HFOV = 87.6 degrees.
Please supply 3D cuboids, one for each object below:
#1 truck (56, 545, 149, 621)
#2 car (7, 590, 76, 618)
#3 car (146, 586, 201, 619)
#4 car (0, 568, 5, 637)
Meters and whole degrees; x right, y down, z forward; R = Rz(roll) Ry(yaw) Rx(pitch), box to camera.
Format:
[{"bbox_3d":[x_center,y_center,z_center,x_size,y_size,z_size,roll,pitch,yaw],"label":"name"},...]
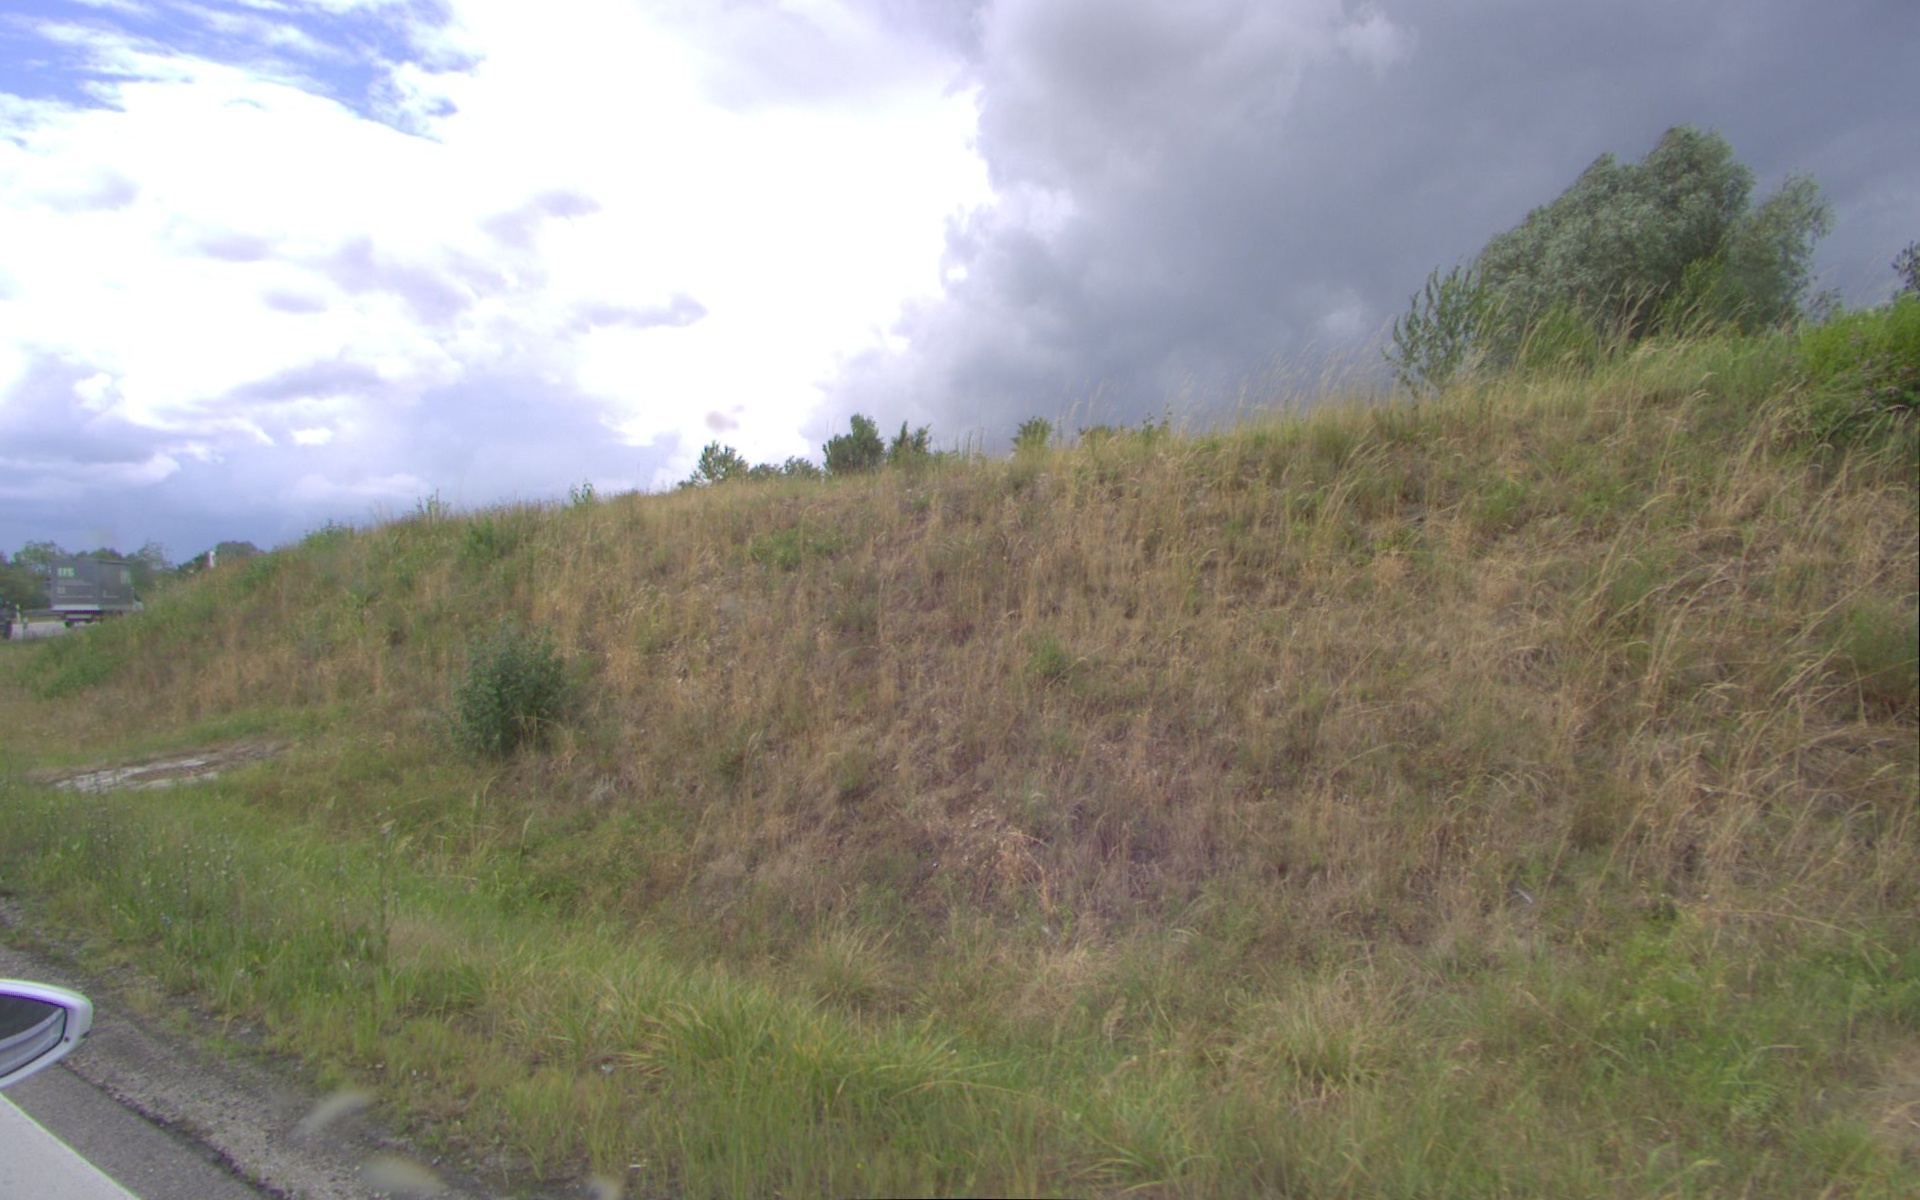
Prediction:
[{"bbox_3d":[-48.084,-0.834,56.326,2.199,3.956,5.999,0,-2,-23],"label":"truck"},{"bbox_3d":[-55.834,0.276,60.962,1.771,1.575,3.951,-1,-1,-22],"label":"car"},{"bbox_3d":[-52.534,0.182,66.959,1.968,2.039,3.988,0,-2,-24],"label":"car"},{"bbox_3d":[-39.852,0.075,39.709,2.083,2.832,3.976,1,-1,-33],"label":"car"}]
